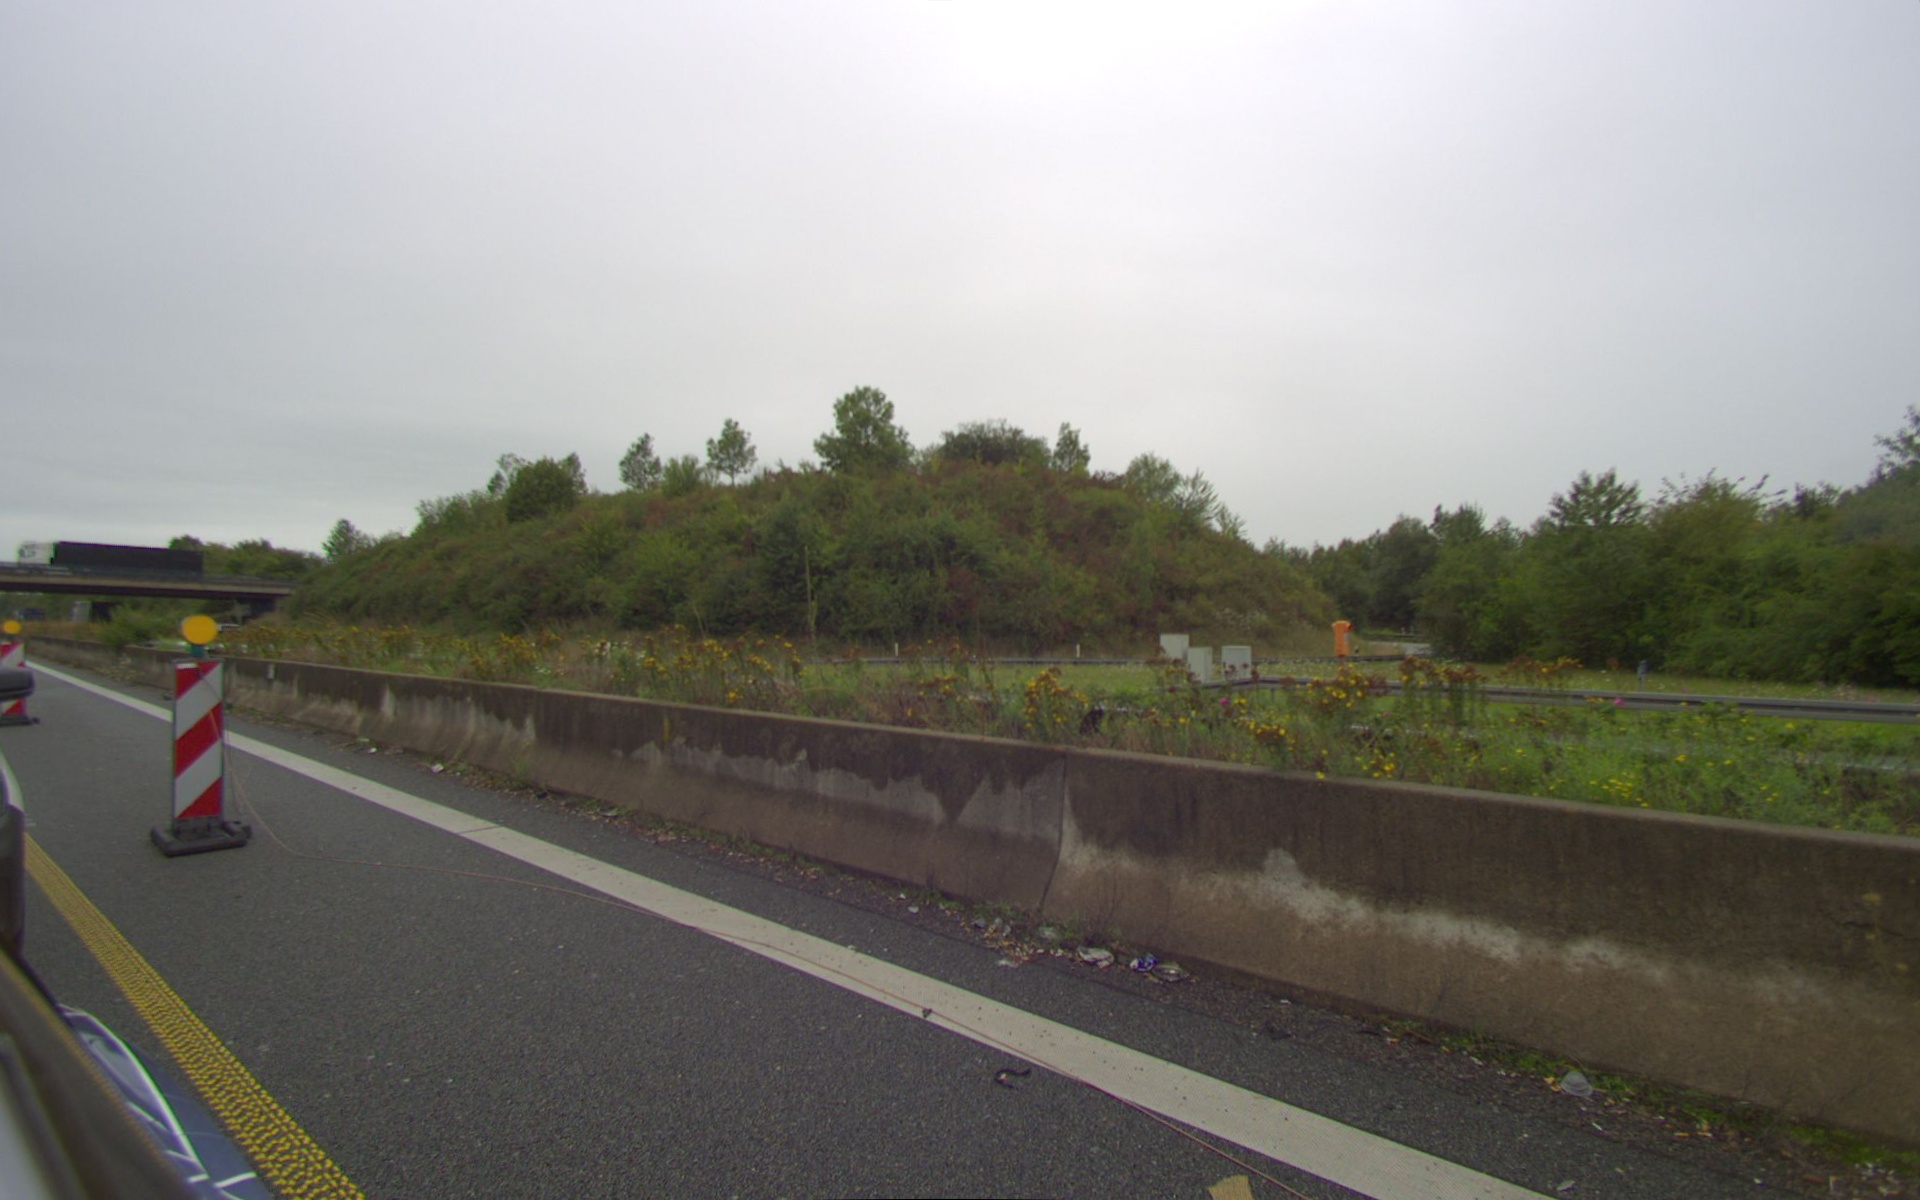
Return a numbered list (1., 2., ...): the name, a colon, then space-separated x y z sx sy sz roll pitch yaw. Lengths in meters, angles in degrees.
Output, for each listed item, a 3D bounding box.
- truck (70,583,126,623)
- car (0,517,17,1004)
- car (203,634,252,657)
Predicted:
1. truck: -104.298 0.386 122.279 17.291 4.558 3.369 0 -1 44
2. car: -5.840 0.643 4.636 4.645 1.798 1.747 -1 -1 41
3. car: -53.576 3.314 73.982 4.294 1.674 1.972 -2 -3 41
